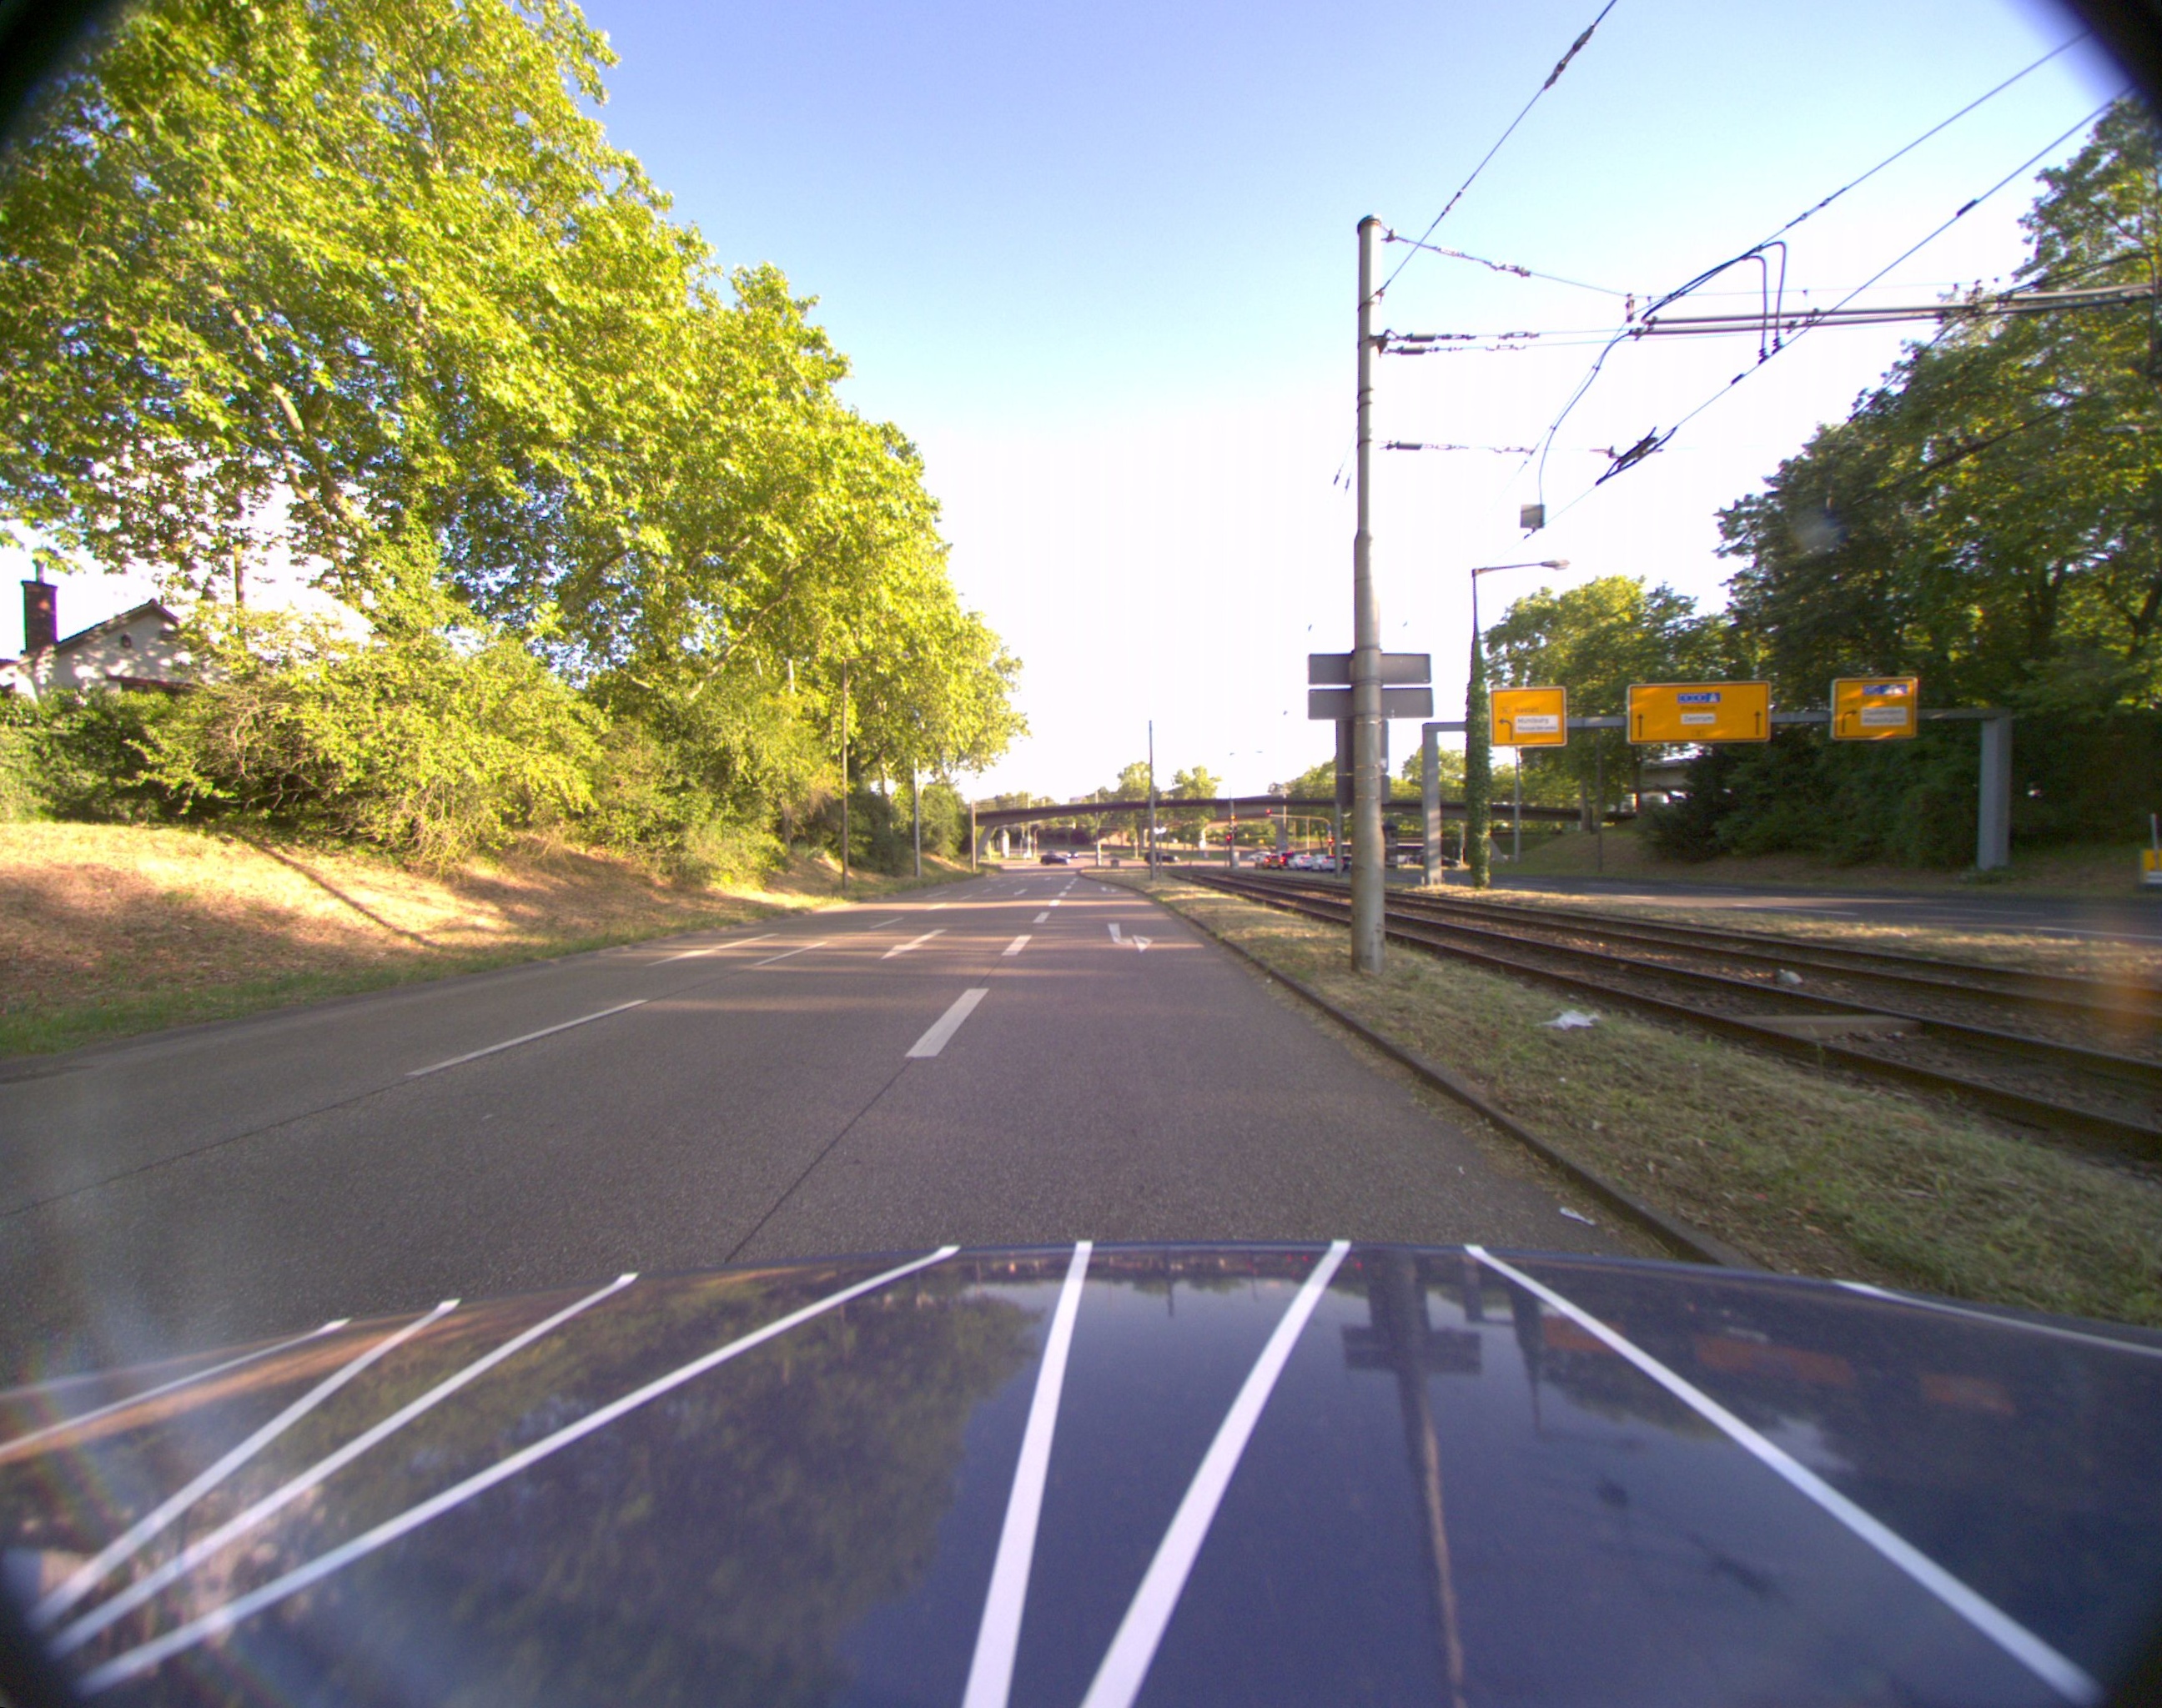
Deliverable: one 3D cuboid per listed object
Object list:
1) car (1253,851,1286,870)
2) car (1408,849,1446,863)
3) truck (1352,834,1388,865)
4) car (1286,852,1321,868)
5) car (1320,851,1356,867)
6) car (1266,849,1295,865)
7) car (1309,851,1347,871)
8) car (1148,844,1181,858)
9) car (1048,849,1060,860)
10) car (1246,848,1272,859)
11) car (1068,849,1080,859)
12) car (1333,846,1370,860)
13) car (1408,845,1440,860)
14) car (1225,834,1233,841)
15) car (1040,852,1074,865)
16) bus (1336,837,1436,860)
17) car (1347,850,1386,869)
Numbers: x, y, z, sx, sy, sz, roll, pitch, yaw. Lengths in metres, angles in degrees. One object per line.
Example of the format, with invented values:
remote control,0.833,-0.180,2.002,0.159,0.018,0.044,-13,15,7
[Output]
car,16.135,0.511,65.241,1.767,1.535,4.000,-1,0,0
car,40.547,0.179,89.118,4.005,1.485,1.698,-2,1,20
truck,28.369,-0.433,74.806,2.281,2.862,6.886,-1,0,13
car,19.903,0.520,68.090,1.918,1.416,4.227,-1,0,2
car,23.725,0.471,70.215,1.868,1.416,4.226,-1,0,0
car,19.568,0.268,74.747,1.917,1.540,4.227,-1,0,4
car,20.015,0.547,61.811,1.767,1.535,4.000,-1,0,0
car,11.009,-0.375,100.138,3.993,1.646,1.786,-2,1,14
car,-4.920,0.067,139.206,1.960,1.779,3.998,-2,0,-5
car,27.282,-0.096,116.493,3.647,1.503,1.665,-2,1,20
car,-1.276,0.014,141.883,1.905,1.726,3.998,-2,0,-5
car,31.765,-0.126,89.299,4.021,1.485,1.625,-2,1,21
car,46.715,-0.168,103.669,3.805,1.848,1.679,-2,1,20
car,41.506,-4.616,212.569,1.832,1.609,3.983,-2,1,7
car,-3.128,0.594,100.033,3.993,1.646,1.786,-2,1,14
bus,43.935,-0.841,109.752,13.162,2.846,2.421,-2,1,23
car,23.948,0.419,63.848,1.813,1.535,4.000,-1,0,1
